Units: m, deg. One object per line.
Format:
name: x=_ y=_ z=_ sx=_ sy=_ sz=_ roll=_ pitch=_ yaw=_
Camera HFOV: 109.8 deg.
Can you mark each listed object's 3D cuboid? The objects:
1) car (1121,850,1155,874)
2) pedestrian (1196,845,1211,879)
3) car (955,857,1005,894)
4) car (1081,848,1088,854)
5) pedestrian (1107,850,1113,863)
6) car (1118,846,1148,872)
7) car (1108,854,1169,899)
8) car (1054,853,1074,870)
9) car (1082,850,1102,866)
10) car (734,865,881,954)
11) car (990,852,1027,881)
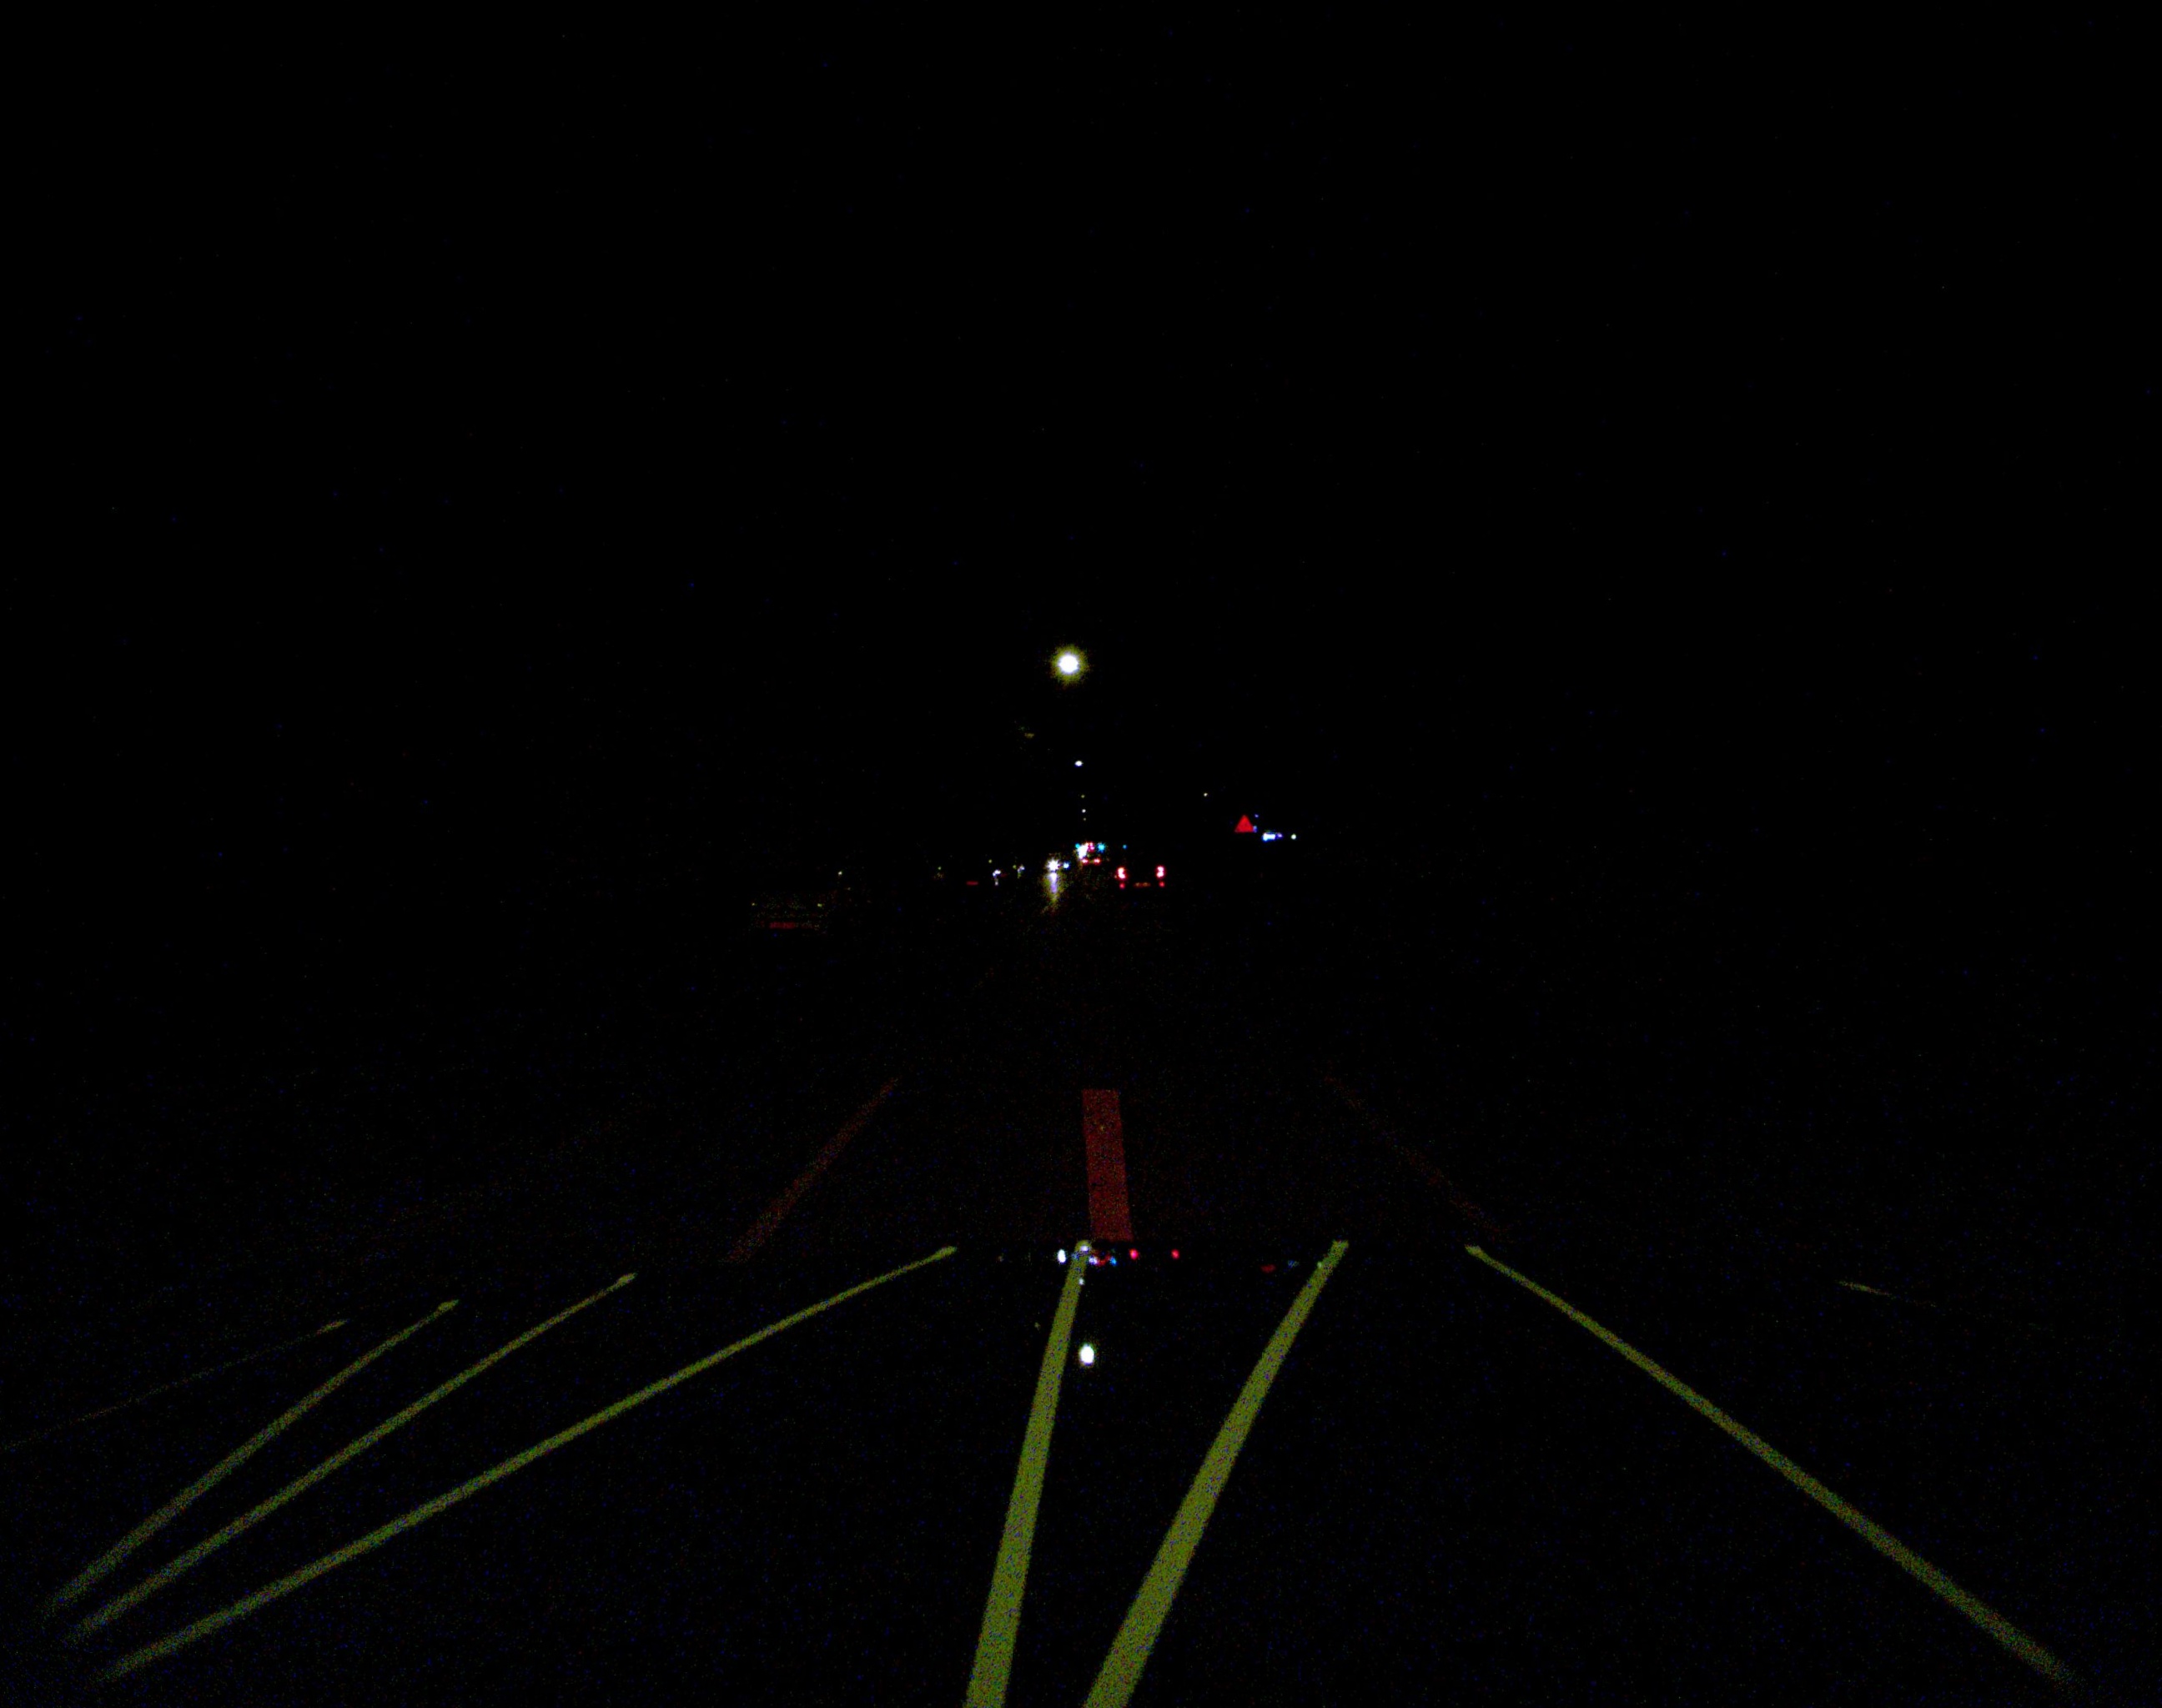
car: x=3.892 y=0.511 z=52.081 sx=1.998 sy=1.477 sz=3.999 roll=-3 pitch=1 yaw=1
pedestrian: x=6.467 y=0.407 z=40.085 sx=0.673 sy=1.750 sz=0.500 roll=-2 pitch=1 yaw=1
car: x=-4.468 y=0.902 z=33.947 sx=1.742 sy=1.489 sz=3.890 roll=-1 pitch=0 yaw=-1
car: x=1.216 y=-1.059 z=254.017 sx=1.998 sy=1.740 sz=3.999 roll=-2 pitch=1 yaw=1
pedestrian: x=4.483 y=0.412 z=118.081 sx=0.804 sy=2.002 sz=0.940 roll=-2 pitch=1 yaw=1
car: x=3.868 y=0.335 z=56.947 sx=1.998 sy=1.772 sz=3.999 roll=-2 pitch=1 yaw=1
car: x=1.982 y=0.811 z=26.969 sx=1.755 sy=1.433 sz=3.487 roll=-2 pitch=-2 yaw=-2
car: x=-1.615 y=0.711 z=72.580 sx=1.780 sy=1.477 sz=3.999 roll=-2 pitch=1 yaw=-1
car: x=1.173 y=0.461 z=82.593 sx=1.903 sy=1.581 sz=3.661 roll=-2 pitch=1 yaw=4
car: x=-5.254 y=1.006 z=15.066 sx=1.611 sy=1.500 sz=3.486 roll=0 pitch=0 yaw=1
car: x=-4.458 y=0.748 z=47.480 sx=1.852 sy=1.643 sz=4.179 roll=-2 pitch=0 yaw=0
